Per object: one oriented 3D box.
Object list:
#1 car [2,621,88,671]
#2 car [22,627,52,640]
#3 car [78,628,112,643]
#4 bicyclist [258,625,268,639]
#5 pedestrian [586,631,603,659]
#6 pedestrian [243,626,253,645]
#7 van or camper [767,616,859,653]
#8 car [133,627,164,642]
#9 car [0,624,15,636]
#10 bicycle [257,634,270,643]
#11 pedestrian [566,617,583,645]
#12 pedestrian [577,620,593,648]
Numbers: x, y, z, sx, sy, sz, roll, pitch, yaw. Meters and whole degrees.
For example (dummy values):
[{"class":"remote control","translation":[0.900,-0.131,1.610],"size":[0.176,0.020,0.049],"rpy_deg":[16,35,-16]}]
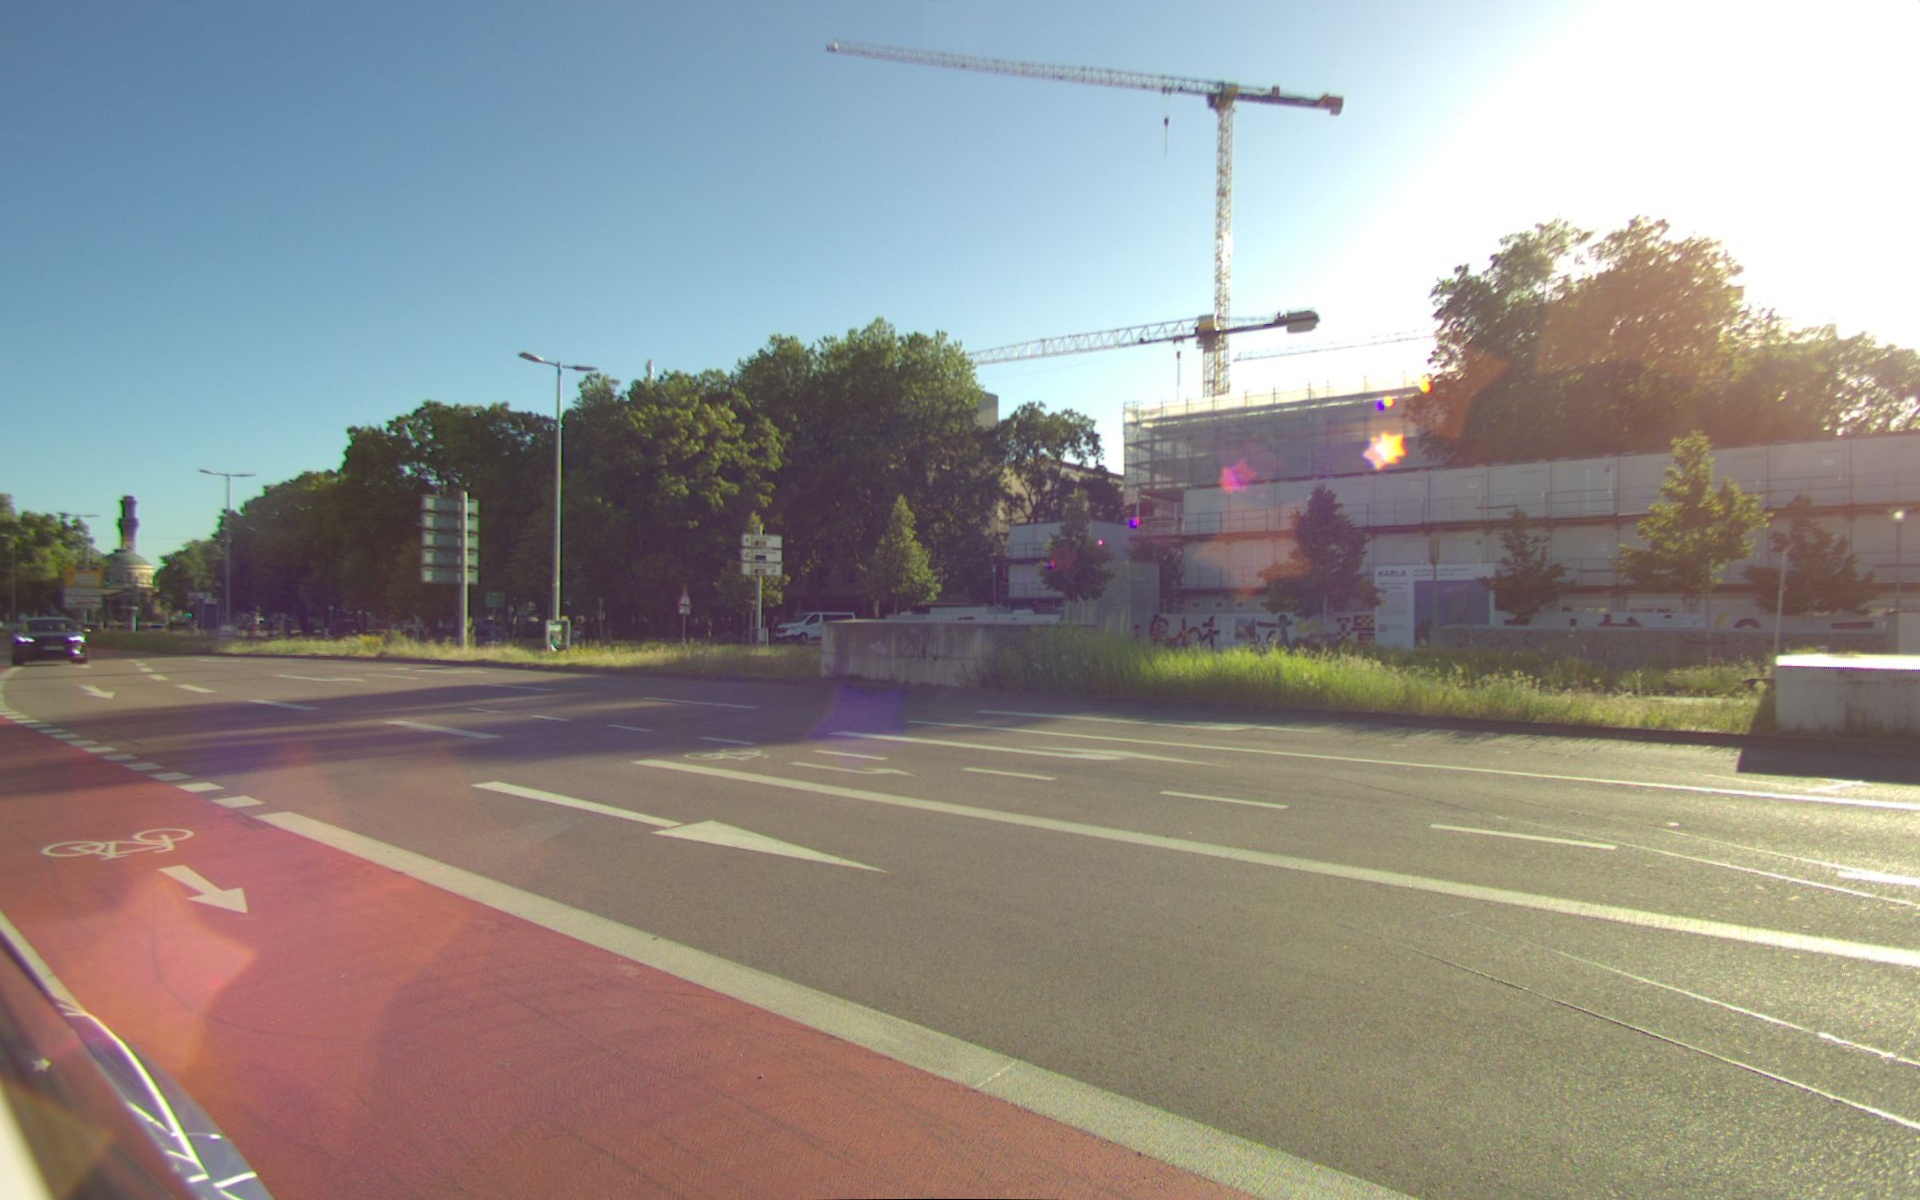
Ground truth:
[{"class":"car","translation":[-32.146,1.566,35.507],"size":[4.617,1.656,1.911],"rpy_deg":[-1,-2,44]},{"class":"car","translation":[-101.246,3.673,111.002],"size":[3.995,1.409,1.849],"rpy_deg":[-1,-2,39]},{"class":"car","translation":[-85.993,3.503,100.611],"size":[3.996,1.409,1.849],"rpy_deg":[-1,-2,40]},{"class":"bicyclist","translation":[-67.007,3.085,97.337],"size":[0.714,1.291,0.603],"rpy_deg":[-1,-2,40]},{"class":"pedestrian","translation":[-22.944,2.794,63.511],"size":[0.762,1.738,0.698],"rpy_deg":[-1,-2,41]},{"class":"pedestrian","translation":[-71.921,3.556,102.234],"size":[0.619,1.862,0.926],"rpy_deg":[2,-2,-44]},{"class":"van or camper","translation":[-8.930,2.066,61.943],"size":[1.948,2.029,5.576],"rpy_deg":[-1,0,42]},{"class":"car","translation":[-86.050,3.627,107.252],"size":[4.000,1.519,1.972],"rpy_deg":[-1,-2,43]},{"class":"car","translation":[-120.269,3.750,127.012],"size":[3.995,1.409,1.849],"rpy_deg":[-1,-2,39]},{"class":"bicycle","translation":[-67.009,3.670,97.320],"size":[1.744,0.849,0.602],"rpy_deg":[-1,-2,40]},{"class":"pedestrian","translation":[-23.762,1.907,62.418],"size":[0.762,1.738,0.698],"rpy_deg":[-1,-2,41]},{"class":"pedestrian","translation":[-23.379,2.092,63.049],"size":[0.762,1.738,0.656],"rpy_deg":[-1,-2,41]}]
